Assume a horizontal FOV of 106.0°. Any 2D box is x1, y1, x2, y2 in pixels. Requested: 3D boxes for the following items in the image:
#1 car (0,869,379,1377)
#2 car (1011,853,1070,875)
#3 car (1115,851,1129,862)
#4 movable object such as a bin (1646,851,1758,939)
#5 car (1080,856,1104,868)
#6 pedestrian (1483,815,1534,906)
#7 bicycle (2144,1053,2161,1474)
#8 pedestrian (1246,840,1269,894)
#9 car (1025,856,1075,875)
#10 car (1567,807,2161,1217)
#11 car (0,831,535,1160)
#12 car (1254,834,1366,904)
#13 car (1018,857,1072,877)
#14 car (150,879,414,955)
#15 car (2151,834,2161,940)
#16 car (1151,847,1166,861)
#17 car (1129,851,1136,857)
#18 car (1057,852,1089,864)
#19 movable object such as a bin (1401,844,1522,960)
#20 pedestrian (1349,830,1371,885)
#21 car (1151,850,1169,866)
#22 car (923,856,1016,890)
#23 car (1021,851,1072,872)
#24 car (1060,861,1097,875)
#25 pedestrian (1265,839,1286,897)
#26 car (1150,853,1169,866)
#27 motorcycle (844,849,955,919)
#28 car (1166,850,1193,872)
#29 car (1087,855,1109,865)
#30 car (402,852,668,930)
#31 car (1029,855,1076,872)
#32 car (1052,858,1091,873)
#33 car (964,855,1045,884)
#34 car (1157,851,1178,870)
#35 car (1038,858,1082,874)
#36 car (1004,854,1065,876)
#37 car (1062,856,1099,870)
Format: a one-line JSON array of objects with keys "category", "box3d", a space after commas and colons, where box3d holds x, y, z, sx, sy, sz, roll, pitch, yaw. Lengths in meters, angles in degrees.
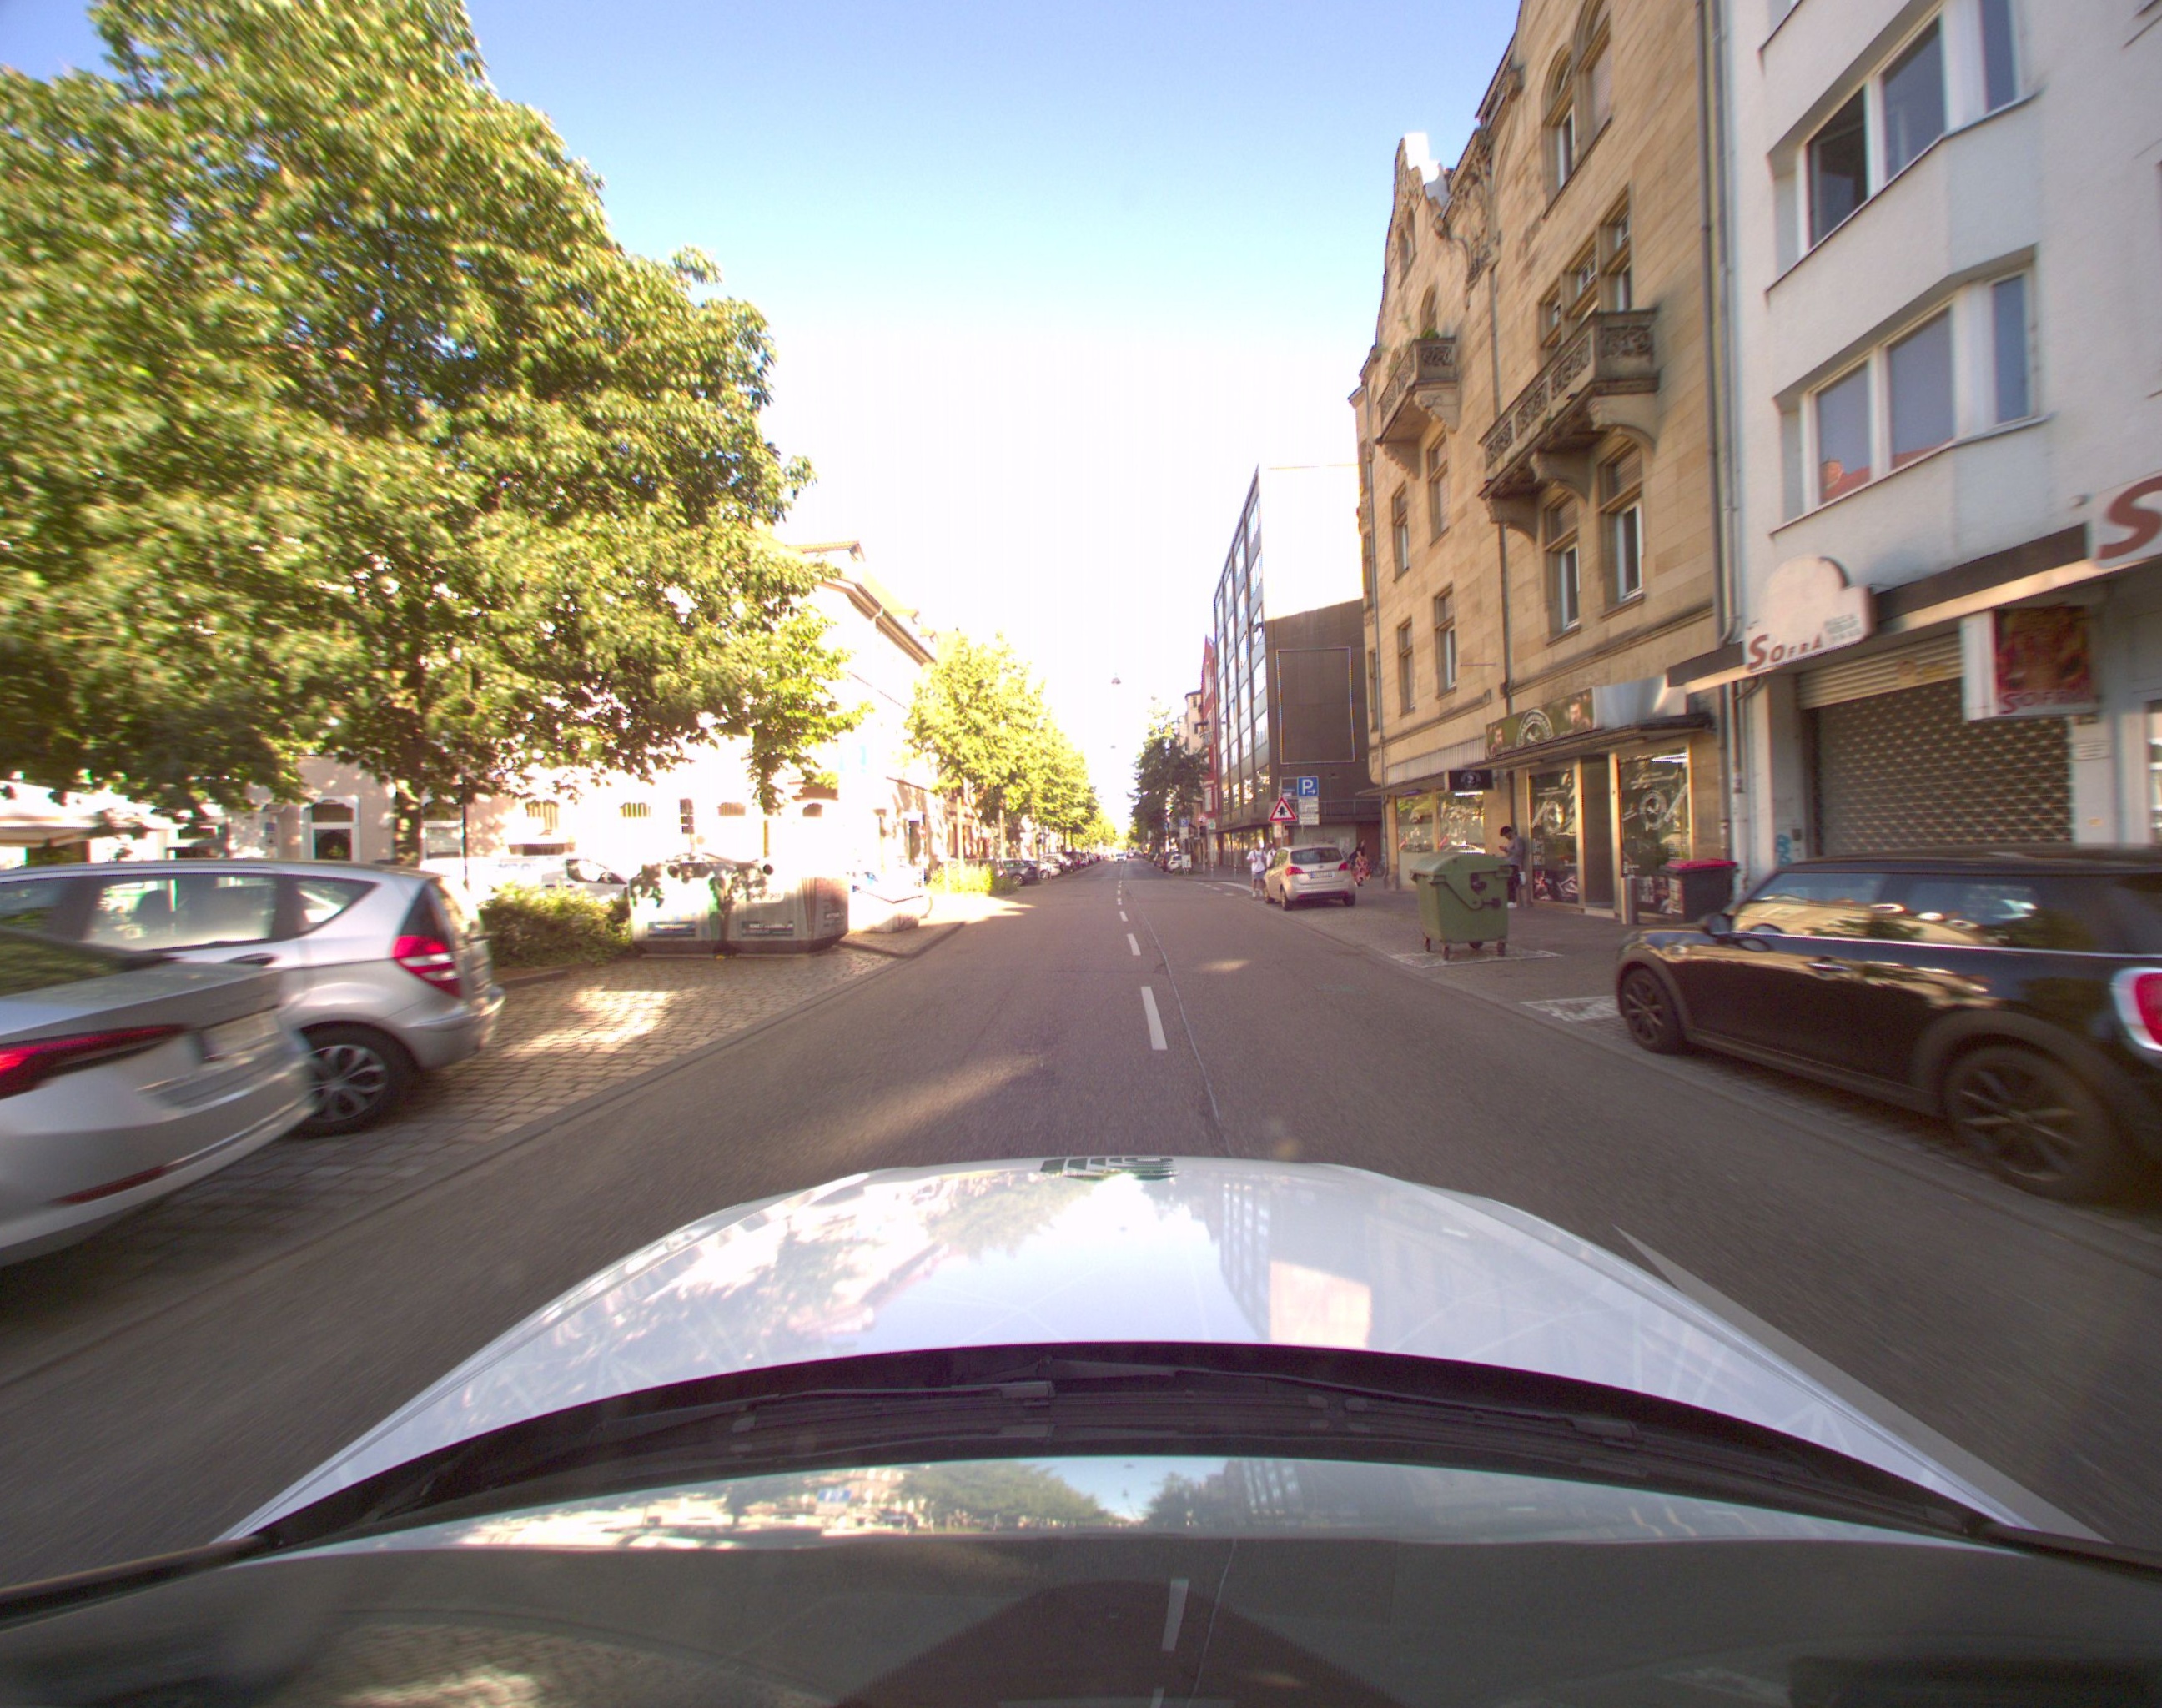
[{"category": "car", "box3d": [-5.118, 0.784, 2.413, 4.241, 1.477, 1.721, 0, -1, -25]}, {"category": "car", "box3d": [-2.882, 0.733, 58.519, 3.969, 1.508, 2.002, 0, -1, 4]}, {"category": "car", "box3d": [6.246, 0.404, 122.849, 1.985, 1.556, 4.004, 0, -1, 4]}, {"category": "movable object such as a bin", "box3d": [8.286, 0.540, 10.907, 0.872, 1.123, 0.829, 0, -1, 3]}, {"category": "car", "box3d": [1.961, 1.373, 145.496, 3.959, 2.014, 2.007, -1, -1, 12]}, {"category": "pedestrian", "box3d": [8.748, 0.141, 16.692, 0.605, 1.788, 0.684, -3, -1, 2]}, {"category": "bicycle", "box3d": [2.736, 0.914, 0.523, 0.650, 0.958, 2.699, 0, -1, 3]}, {"category": "pedestrian", "box3d": [5.664, 0.417, 26.130, 0.609, 1.735, 0.637, -1, -1, 21]}, {"category": "car", "box3d": [-2.606, 0.945, 68.289, 3.969, 1.508, 2.002, 0, -1, 4]}, {"category": "car", "box3d": [4.699, 0.584, 4.734, 1.671, 1.448, 3.789, 0, -1, 4]}, {"category": "car", "box3d": [-5.694, 0.697, 4.720, 4.010, 1.586, 1.814, 1, -1, -29]}, {"category": "car", "box3d": [5.996, 0.399, 21.933, 1.891, 1.675, 4.828, 0, -1, 3]}, {"category": "car", "box3d": [-2.752, 0.999, 63.550, 3.969, 1.508, 2.002, 0, -1, 4]}, {"category": "car", "box3d": [-18.486, 1.405, 19.113, 3.920, 1.564, 1.967, 0, -1, -20]}, {"category": "car", "box3d": [4.477, 0.595, 0.952, 1.711, 1.515, 3.585, -4, -1, 3]}, {"category": "car", "box3d": [11.711, -0.014, 123.090, 1.985, 2.014, 4.003, -1, 0, 3]}, {"category": "car", "box3d": [13.647, -0.032, 217.445, 1.862, 1.556, 4.004, 0, -1, 4]}, {"category": "car", "box3d": [-1.053, 0.496, 107.432, 3.965, 1.508, 2.004, 1, -1, 7]}, {"category": "movable object such as a bin", "box3d": [5.306, 0.627, 11.479, 1.067, 1.457, 1.496, -4, 0, 8]}, {"category": "pedestrian", "box3d": [9.640, 0.115, 28.130, 0.640, 1.871, 0.630, -1, -2, 25]}, {"category": "car", "box3d": [10.407, 0.509, 107.442, 1.985, 2.013, 4.003, -3, 0, 3]}, {"category": "car", "box3d": [-5.145, 0.866, 38.056, 3.969, 1.508, 2.002, 0, -1, 4]}, {"category": "car", "box3d": [-2.774, 0.609, 66.048, 3.969, 1.674, 2.091, 0, -1, 4]}, {"category": "car", "box3d": [-0.264, 1.596, 91.476, 3.966, 1.508, 2.004, 1, -1, 6]}, {"category": "pedestrian", "box3d": [6.098, 0.433, 25.556, 0.507, 1.780, 0.616, -1, -2, 24]}, {"category": "car", "box3d": [9.194, 0.648, 95.527, 1.985, 1.453, 4.003, -1, 0, 3]}, {"category": "motorcycle", "box3d": [-4.473, 0.734, 20.058, 2.450, 1.604, 1.005, -3, -1, 21]}, {"category": "car", "box3d": [7.597, 0.562, 63.321, 1.984, 1.618, 4.016, 0, -1, 6]}, {"category": "car", "box3d": [3.332, 1.152, 158.821, 3.959, 2.014, 2.007, -1, -1, 12]}, {"category": "car", "box3d": [-13.608, 0.875, 20.803, 5.287, 1.800, 2.146, 0, -1, -24]}, {"category": "car", "box3d": [-2.503, 0.862, 72.248, 3.969, 1.508, 1.896, 0, -1, 4]}, {"category": "car", "box3d": [-1.046, 1.270, 88.413, 3.966, 1.508, 2.004, 1, -1, 6]}, {"category": "car", "box3d": [-4.038, 0.833, 43.479, 3.969, 1.508, 2.002, 0, -1, 4]}, {"category": "car", "box3d": [9.312, 0.719, 87.687, 1.985, 2.014, 4.002, 0, -1, 3]}, {"category": "car", "box3d": [-1.928, 1.142, 76.848, 3.970, 1.508, 2.001, 0, -1, 3]}, {"category": "car", "box3d": [-3.176, 0.766, 56.440, 3.969, 1.508, 2.002, 0, -1, 4]}, {"category": "car", "box3d": [-0.036, 1.018, 94.091, 3.966, 1.508, 2.004, 1, -1, 6]}]
